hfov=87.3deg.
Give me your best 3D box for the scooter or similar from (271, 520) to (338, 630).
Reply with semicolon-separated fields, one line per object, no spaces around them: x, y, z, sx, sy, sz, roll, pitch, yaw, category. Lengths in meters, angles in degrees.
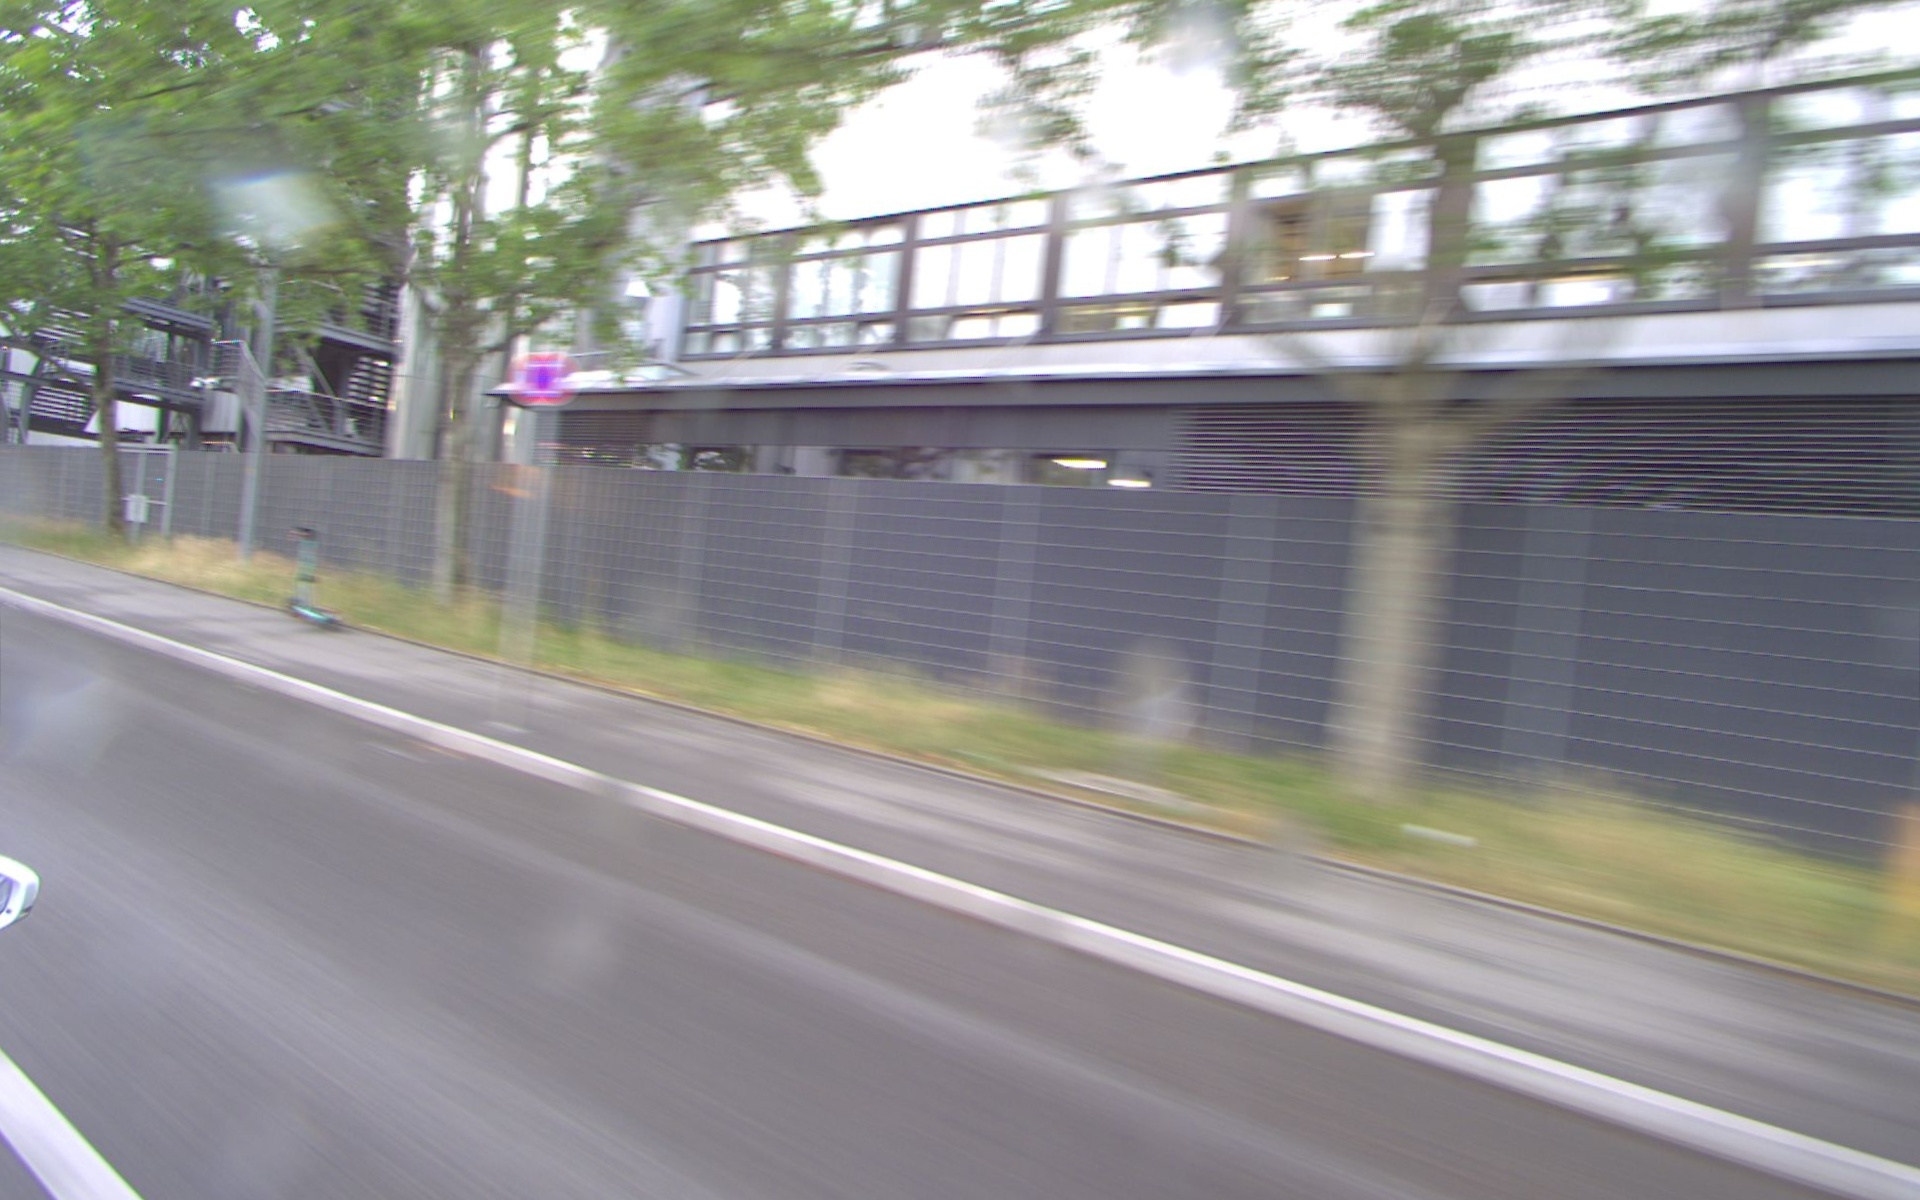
-8.324;-0.332;12.756;1.093;1.285;0.328;7;1;41;scooter or similar
